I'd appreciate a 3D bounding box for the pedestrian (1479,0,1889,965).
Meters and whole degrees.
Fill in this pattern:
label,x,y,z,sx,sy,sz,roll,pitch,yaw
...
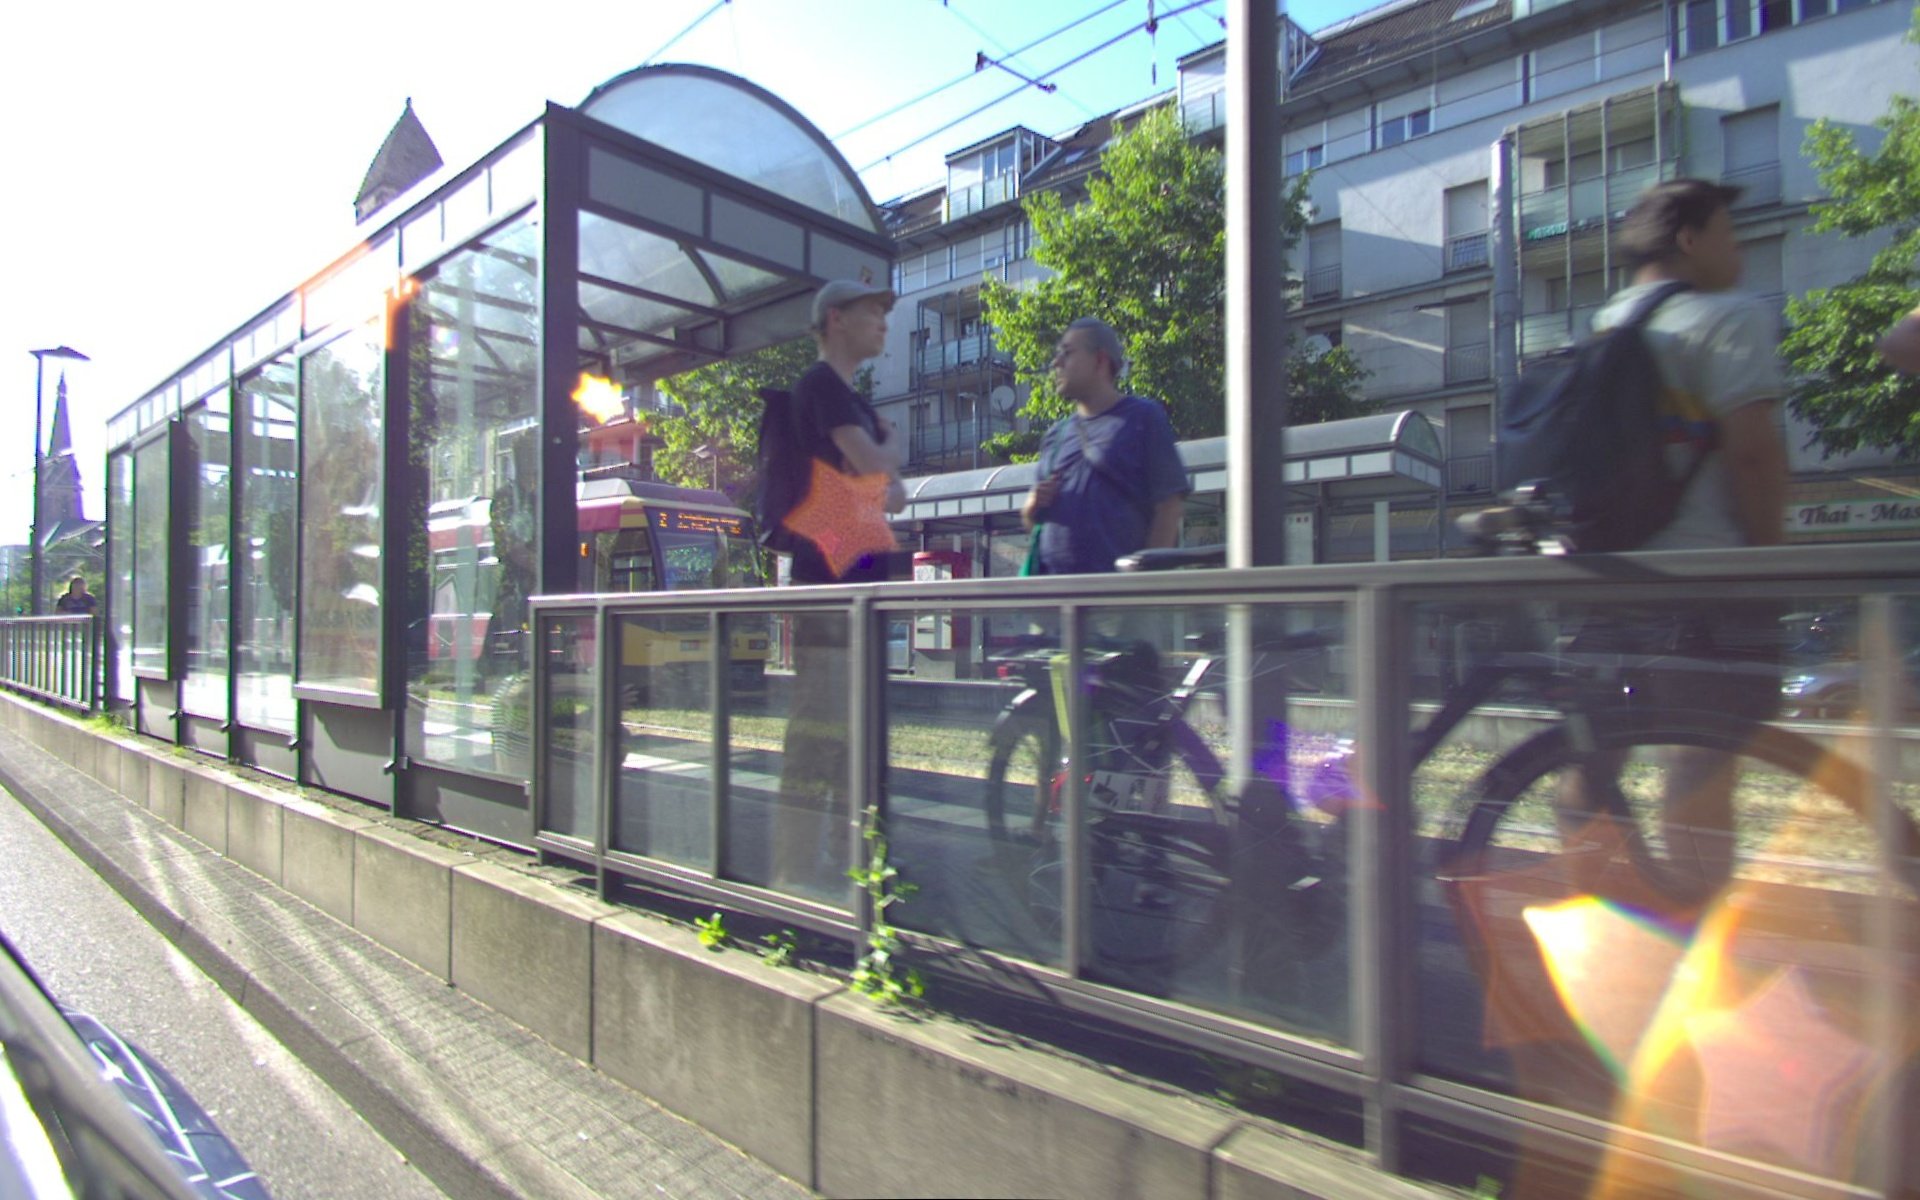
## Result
label,x,y,z,sx,sy,sz,roll,pitch,yaw
pedestrian,1.515,-0.227,2.157,0.599,1.721,0.543,-2,0,38

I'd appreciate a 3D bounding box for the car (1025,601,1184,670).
label,x,y,z,sx,sy,sz,roll,pitch,yaw
car,3.786,0.919,26.783,3.783,1.648,1.788,-2,0,41

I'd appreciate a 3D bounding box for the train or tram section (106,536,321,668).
label,x,y,z,sx,sy,sz,roll,pitch,yaw
train or tram section,-25.617,0.240,34.189,14.554,3.704,2.839,-2,-2,42

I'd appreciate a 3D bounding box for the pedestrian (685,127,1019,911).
label,x,y,z,sx,sy,sz,roll,pitch,yaw
pedestrian,-0.347,-0.207,3.102,0.592,2.011,0.825,-1,0,-44

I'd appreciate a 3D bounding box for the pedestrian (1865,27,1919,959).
label,x,y,z,sx,sy,sz,roll,pitch,yaw
pedestrian,2.194,-0.204,1.850,0.729,1.721,0.501,-2,0,38

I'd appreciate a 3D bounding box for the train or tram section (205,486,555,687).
label,x,y,z,sx,sy,sz,roll,pitch,yaw
train or tram section,-14.709,-0.071,24.546,14.554,3.714,2.839,-2,-2,42

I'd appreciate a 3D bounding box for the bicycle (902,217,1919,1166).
label,x,y,z,sx,sy,sz,roll,pitch,yaw
bicycle,0.837,0.122,1.831,2.102,1.142,0.508,-2,0,41

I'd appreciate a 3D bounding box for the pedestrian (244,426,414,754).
label,x,y,z,sx,sy,sz,roll,pitch,yaw
pedestrian,-4.009,-0.056,6.429,0.824,1.916,0.662,-2,0,40

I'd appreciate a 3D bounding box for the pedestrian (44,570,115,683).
label,x,y,z,sx,sy,sz,roll,pitch,yaw
pedestrian,-13.133,0.380,15.086,0.981,1.622,0.623,-2,0,40

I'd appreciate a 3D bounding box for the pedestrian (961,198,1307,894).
label,x,y,z,sx,sy,sz,roll,pitch,yaw
pedestrian,0.524,-0.140,3.140,0.592,1.813,0.825,-1,0,-44

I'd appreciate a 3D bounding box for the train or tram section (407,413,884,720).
label,x,y,z,sx,sy,sz,roll,pitch,yaw
train or tram section,-5.625,-0.288,16.505,9.680,3.714,2.839,-2,-2,41

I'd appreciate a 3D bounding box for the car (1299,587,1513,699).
label,x,y,z,sx,sy,sz,roll,pitch,yaw
car,9.510,0.867,21.711,3.783,2.183,1.920,-2,0,41
